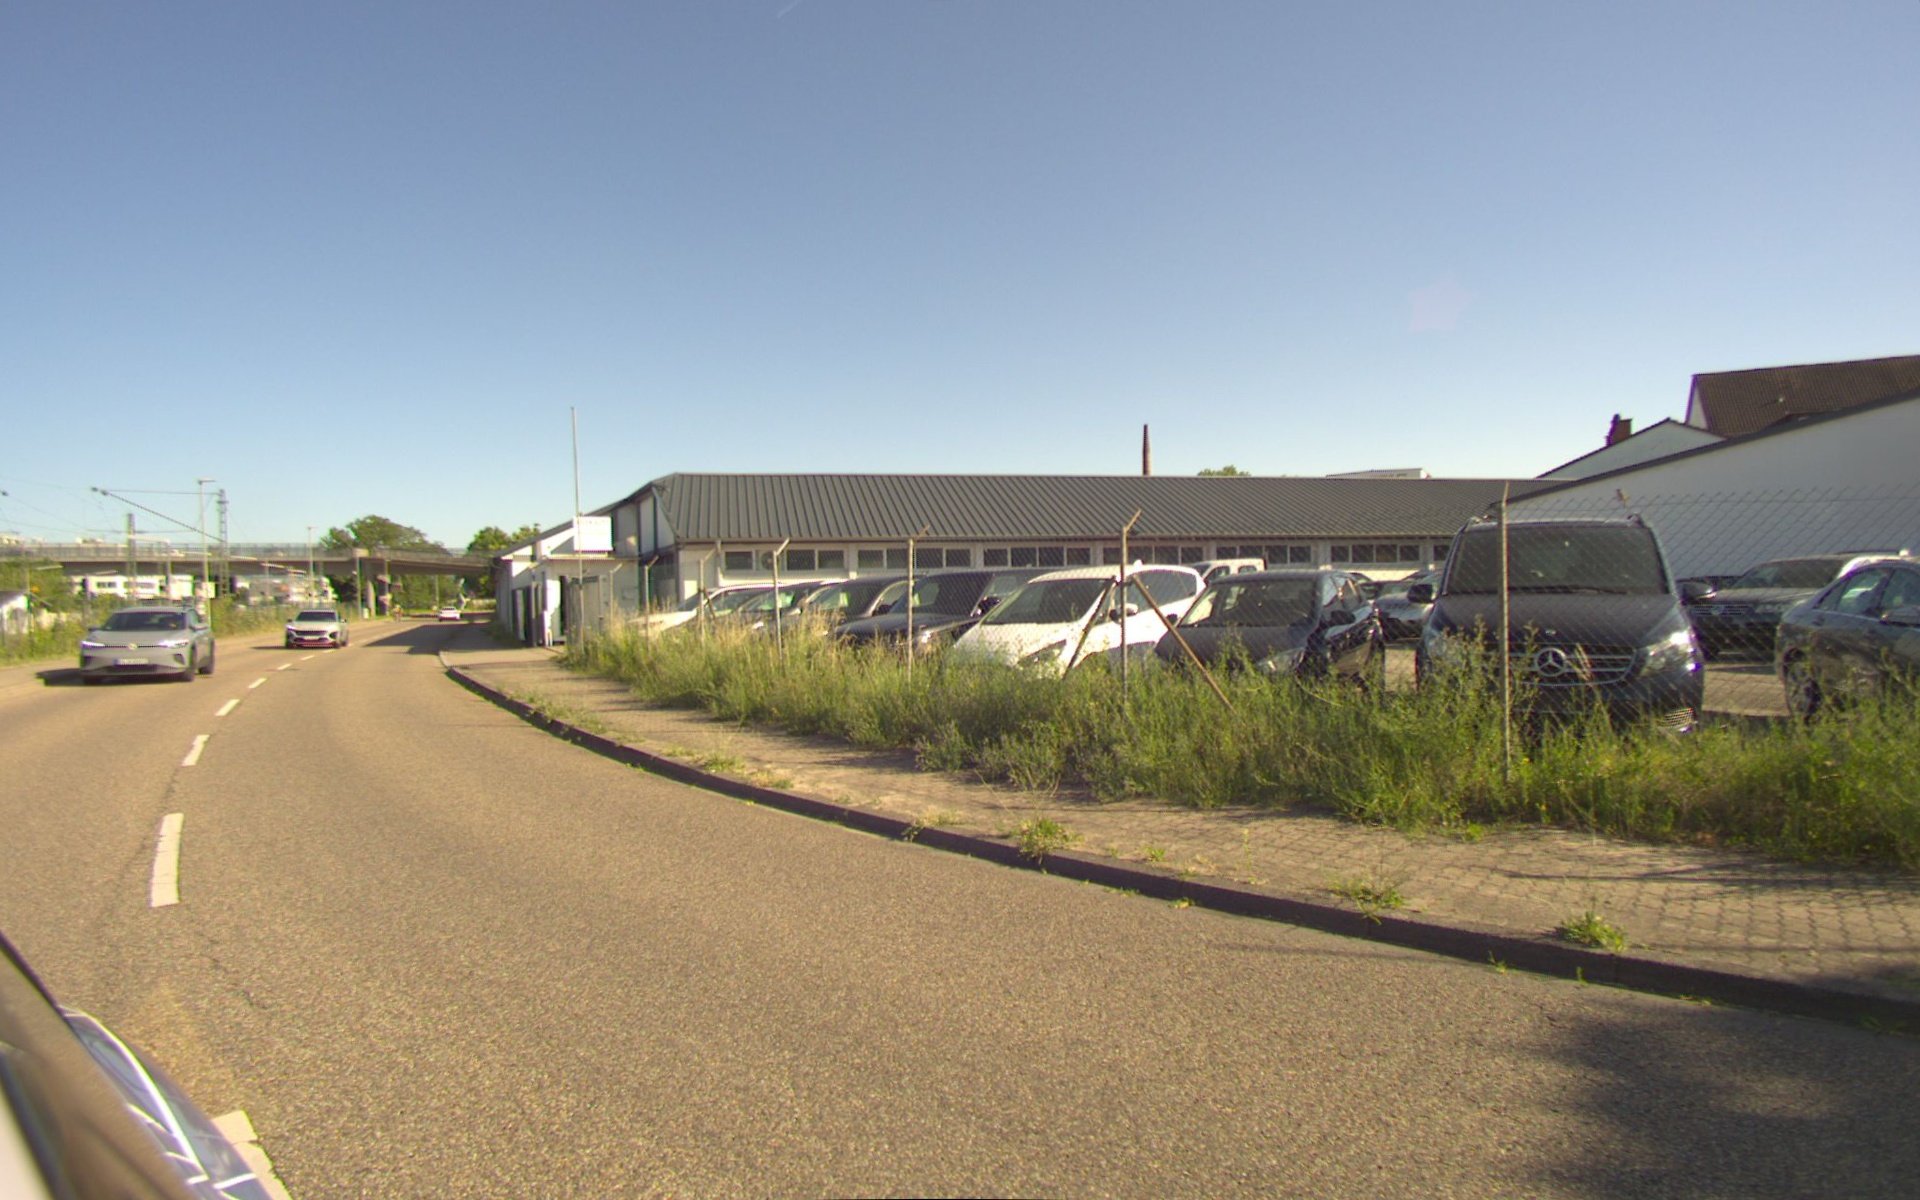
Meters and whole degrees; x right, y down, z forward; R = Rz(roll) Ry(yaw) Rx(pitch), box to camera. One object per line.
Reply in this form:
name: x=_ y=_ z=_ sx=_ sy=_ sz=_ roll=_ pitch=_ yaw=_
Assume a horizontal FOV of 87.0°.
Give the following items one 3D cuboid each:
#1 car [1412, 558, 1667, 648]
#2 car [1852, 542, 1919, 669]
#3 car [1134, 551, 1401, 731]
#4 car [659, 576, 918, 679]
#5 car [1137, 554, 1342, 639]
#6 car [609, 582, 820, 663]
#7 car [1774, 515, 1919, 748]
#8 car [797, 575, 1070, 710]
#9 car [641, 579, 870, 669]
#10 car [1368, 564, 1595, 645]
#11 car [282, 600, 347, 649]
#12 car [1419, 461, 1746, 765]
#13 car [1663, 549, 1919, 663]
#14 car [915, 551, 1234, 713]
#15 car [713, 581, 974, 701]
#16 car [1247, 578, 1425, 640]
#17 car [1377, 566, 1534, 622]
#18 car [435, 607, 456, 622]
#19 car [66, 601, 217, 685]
car: x=11.774 y=0.036 z=20.672 sx=4.331 sy=1.661 sz=1.845 roll=-1 pitch=0 yaw=-12
car: x=14.537 y=0.025 z=14.278 sx=4.330 sy=1.661 sz=1.845 roll=-1 pitch=0 yaw=-34
car: x=3.383 y=0.317 z=10.484 sx=1.832 sy=1.447 sz=4.362 roll=-1 pitch=0 yaw=28
car: x=-3.064 y=0.421 z=18.567 sx=4.335 sy=1.661 sz=1.843 roll=-1 pitch=0 yaw=-40
car: x=8.600 y=-0.140 z=31.292 sx=5.669 sy=2.289 sz=2.115 roll=-3 pitch=1 yaw=-11
car: x=-5.548 y=0.453 z=23.173 sx=4.336 sy=1.661 sz=1.843 roll=-1 pitch=0 yaw=-42
car: x=7.800 y=0.207 z=7.181 sx=1.827 sy=1.661 sz=4.374 roll=-1 pitch=0 yaw=21
car: x=-0.212 y=0.506 z=14.742 sx=1.835 sy=1.661 sz=4.355 roll=-1 pitch=0 yaw=33
car: x=-4.243 y=0.441 z=21.302 sx=4.332 sy=1.661 sz=1.844 roll=-1 pitch=0 yaw=-37
car: x=11.789 y=0.080 z=22.974 sx=4.331 sy=1.661 sz=1.845 roll=-1 pitch=0 yaw=-12
car: x=-25.729 y=0.944 z=40.464 sx=1.851 sy=1.838 sz=4.309 roll=0 pitch=0 yaw=-28
car: x=5.252 y=0.065 z=8.906 sx=1.832 sy=1.906 sz=4.804 roll=-1 pitch=0 yaw=29
car: x=13.804 y=0.050 z=16.526 sx=4.327 sy=1.661 sz=1.846 roll=-1 pitch=0 yaw=-25
car: x=1.593 y=0.304 z=12.647 sx=1.839 sy=1.661 sz=4.345 roll=-1 pitch=0 yaw=40
car: x=-1.717 y=0.552 z=16.391 sx=1.835 sy=1.661 sz=4.355 roll=-1 pitch=0 yaw=33
car: x=10.538 y=0.234 z=28.454 sx=4.331 sy=1.574 sz=1.845 roll=-1 pitch=0 yaw=-12
car: x=16.071 y=-0.197 z=32.898 sx=4.331 sy=1.661 sz=1.845 roll=-1 pitch=0 yaw=-12
car: x=-52.114 y=1.445 z=102.571 sx=1.783 sy=1.489 sz=4.703 roll=0 pitch=-1 yaw=-26
car: x=-17.810 y=0.881 z=22.239 sx=1.820 sy=1.643 sz=4.309 roll=1 pitch=-1 yaw=-29
